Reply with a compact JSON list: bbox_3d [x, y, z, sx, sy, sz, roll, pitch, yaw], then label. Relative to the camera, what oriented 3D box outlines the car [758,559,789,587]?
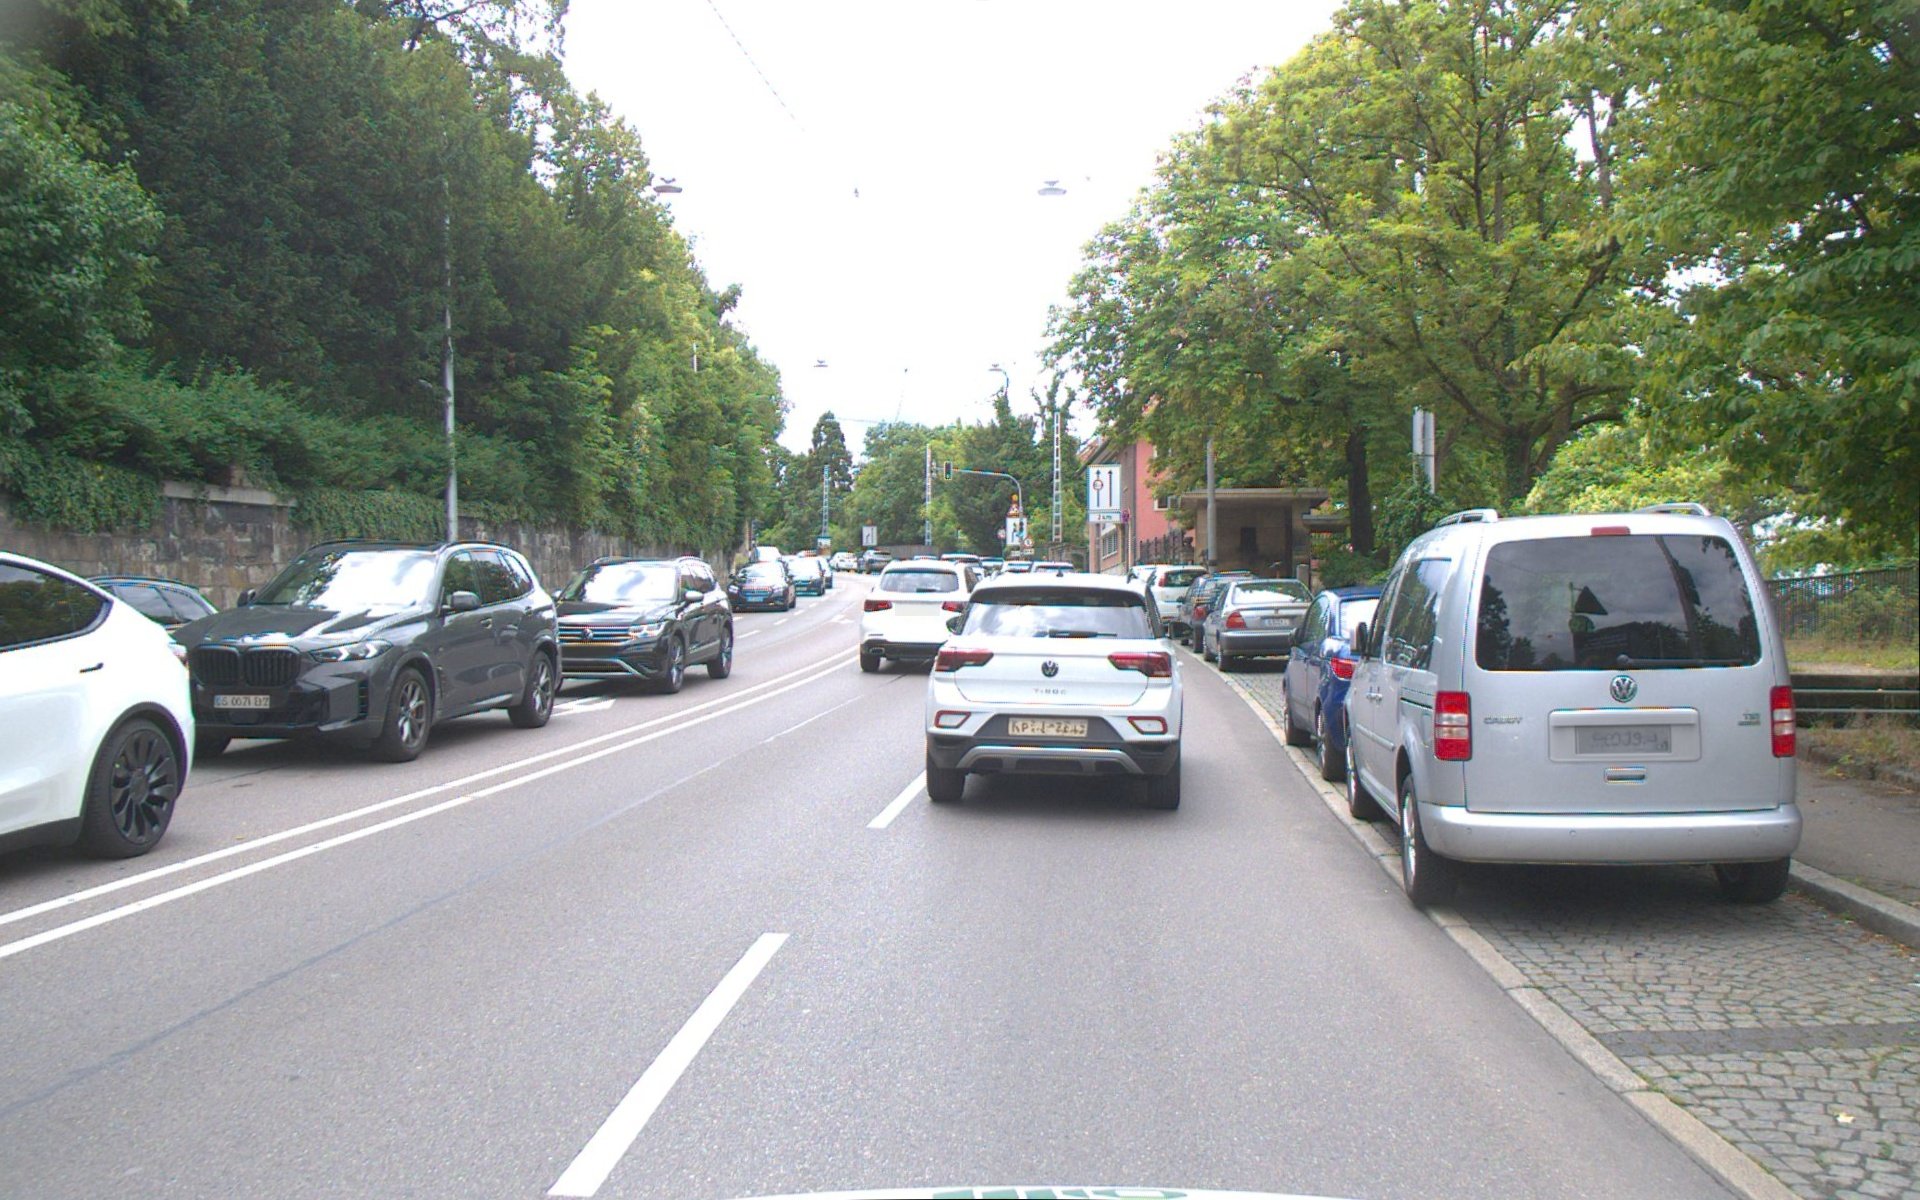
[{"bbox_3d":[-13.036,-1.892,115.341,1.858,1.880,4.387,-2,1,-9],"label":"car"}]

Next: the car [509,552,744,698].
[{"bbox_3d":[-4.234,0.266,21.773,1.809,1.680,4.627,-1,1,4],"label":"car"}]

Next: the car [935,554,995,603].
[{"bbox_3d":[0.156,-0.770,57.049,1.953,1.583,4.151,2,2,0],"label":"car"}]

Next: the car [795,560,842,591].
[{"bbox_3d":[-6.759,-1.193,79.558,1.805,1.433,4.456,-1,1,1],"label":"car"}]

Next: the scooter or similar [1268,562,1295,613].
[{"bbox_3d":[8.356,-0.334,43.047,0.506,1.282,1.169,-2,1,4],"label":"scooter or similar"}]

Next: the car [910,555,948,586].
[{"bbox_3d":[-1.576,-1.470,83.157,1.745,1.480,3.997,1,1,-4],"label":"car"}]

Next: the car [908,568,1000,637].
[{"bbox_3d":[-0.076,0.040,38.605,1.952,1.515,4.152,0,1,2],"label":"car"}]

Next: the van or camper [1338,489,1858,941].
[{"bbox_3d":[3.152,0.458,9.068,1.662,1.877,4.246,0,0,7],"label":"van or camper"}]

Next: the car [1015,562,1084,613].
[{"bbox_3d":[2.606,-0.387,49.014,1.952,1.439,4.152,0,1,2],"label":"car"}]

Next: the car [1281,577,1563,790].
[{"bbox_3d":[3.647,0.570,13.691,1.564,1.485,3.945,-1,1,6],"label":"car"}]

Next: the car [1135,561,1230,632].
[{"bbox_3d":[5.301,-0.125,39.873,1.680,1.497,4.039,-3,2,0],"label":"car"}]

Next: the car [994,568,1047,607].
[{"bbox_3d":[2.349,-0.491,64.964,1.952,1.475,4.151,0,1,0],"label":"car"}]

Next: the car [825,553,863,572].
[{"bbox_3d":[-8.987,-2.889,127.761,1.964,1.475,4.127,0,1,-20],"label":"car"}]

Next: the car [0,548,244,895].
[{"bbox_3d":[-5.280,0.545,7.355,1.799,1.581,4.792,1,1,5],"label":"car"}]

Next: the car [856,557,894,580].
[{"bbox_3d":[-5.957,-2.217,116.123,1.959,1.602,4.136,0,1,-13],"label":"car"}]

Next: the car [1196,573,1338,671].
[{"bbox_3d":[4.899,0.301,26.906,1.733,1.423,4.554,-1,1,4],"label":"car"}]

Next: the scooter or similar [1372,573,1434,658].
[{"bbox_3d":[7.109,0.224,26.601,0.549,1.265,2.001,-5,0,6],"label":"scooter or similar"}]

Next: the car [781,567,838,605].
[{"bbox_3d":[-6.005,-0.597,66.471,1.804,1.461,4.001,0,1,2],"label":"car"}]

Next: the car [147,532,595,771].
[{"bbox_3d":[-4.975,0.359,14.866,1.918,1.780,4.881,-1,1,5],"label":"car"}]

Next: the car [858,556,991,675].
[{"bbox_3d":[-0.472,0.200,25.580,1.721,1.637,3.797,2,1,3],"label":"car"}]

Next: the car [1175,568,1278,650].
[{"bbox_3d":[5.166,0.135,32.397,1.529,1.446,3.425,-3,1,2],"label":"car"}]

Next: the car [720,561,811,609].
[{"bbox_3d":[-6.019,-0.486,51.676,1.960,1.434,4.758,-1,1,4],"label":"car"}]

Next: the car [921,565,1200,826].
[{"bbox_3d":[0.893,0.582,12.375,1.720,1.582,3.799,2,1,8],"label":"car"}]

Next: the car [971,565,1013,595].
[{"bbox_3d":[1.573,-0.999,82.227,1.953,1.475,4.150,0,1,0],"label":"car"}]

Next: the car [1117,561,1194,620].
[{"bbox_3d":[5.286,-0.292,45.221,1.641,1.486,4.367,-1,1,1],"label":"car"}]
